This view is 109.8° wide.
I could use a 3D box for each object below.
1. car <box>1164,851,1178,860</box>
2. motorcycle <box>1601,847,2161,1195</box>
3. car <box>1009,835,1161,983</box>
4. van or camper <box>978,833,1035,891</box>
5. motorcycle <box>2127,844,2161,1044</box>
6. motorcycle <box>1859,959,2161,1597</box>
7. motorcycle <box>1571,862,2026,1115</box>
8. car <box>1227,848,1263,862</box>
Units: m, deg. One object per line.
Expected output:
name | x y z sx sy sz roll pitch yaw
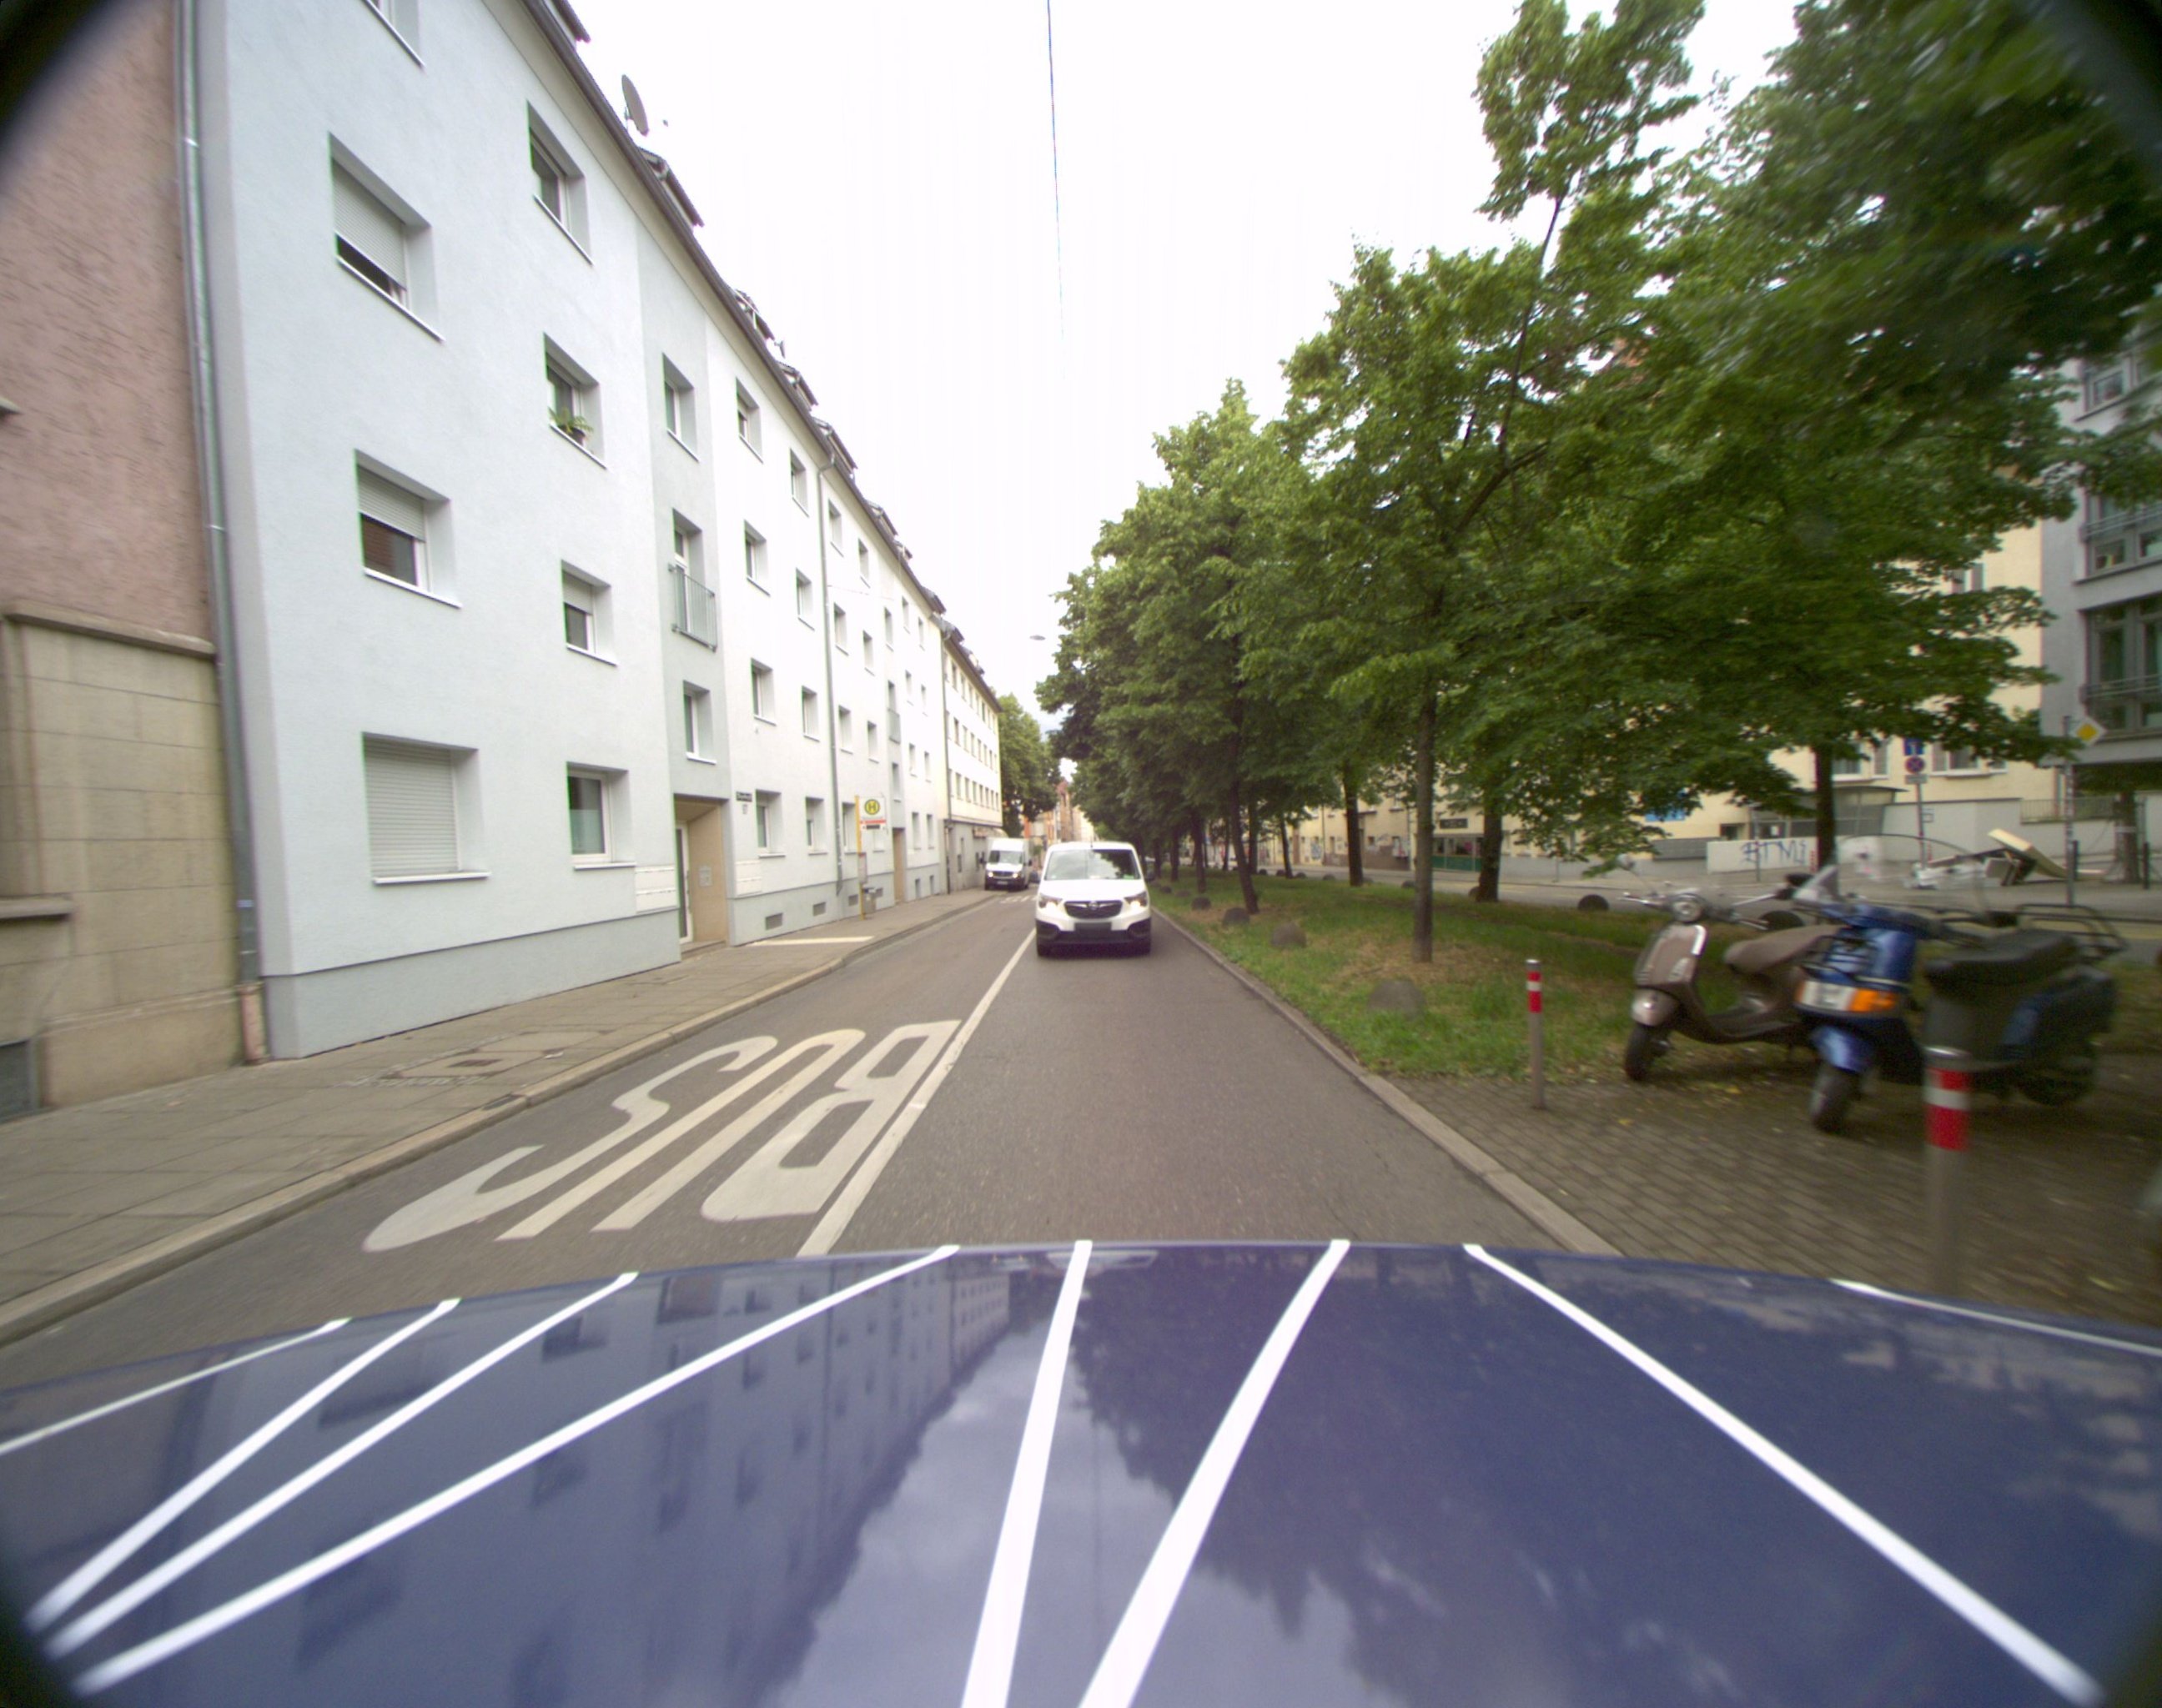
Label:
car | 16.169 0.257 137.239 1.953 1.619 4.365 -2 0 0
motorcycle | 3.981 0.734 3.715 2.199 1.430 0.874 -3 1 3
car | 0.267 0.726 12.148 1.745 1.830 4.345 -5 0 8
van or camper | -3.963 0.403 41.824 2.487 2.786 7.236 -2 0 -2
motorcycle | 8.273 0.544 4.614 2.388 1.309 1.045 -2 0 0
motorcycle | 3.420 0.896 1.659 2.361 1.228 1.033 -2 0 -1
motorcycle | 4.230 0.746 4.620 1.929 1.289 0.893 -2 2 -1
car | 22.024 0.125 102.093 4.298 1.411 2.048 -5 -1 3
